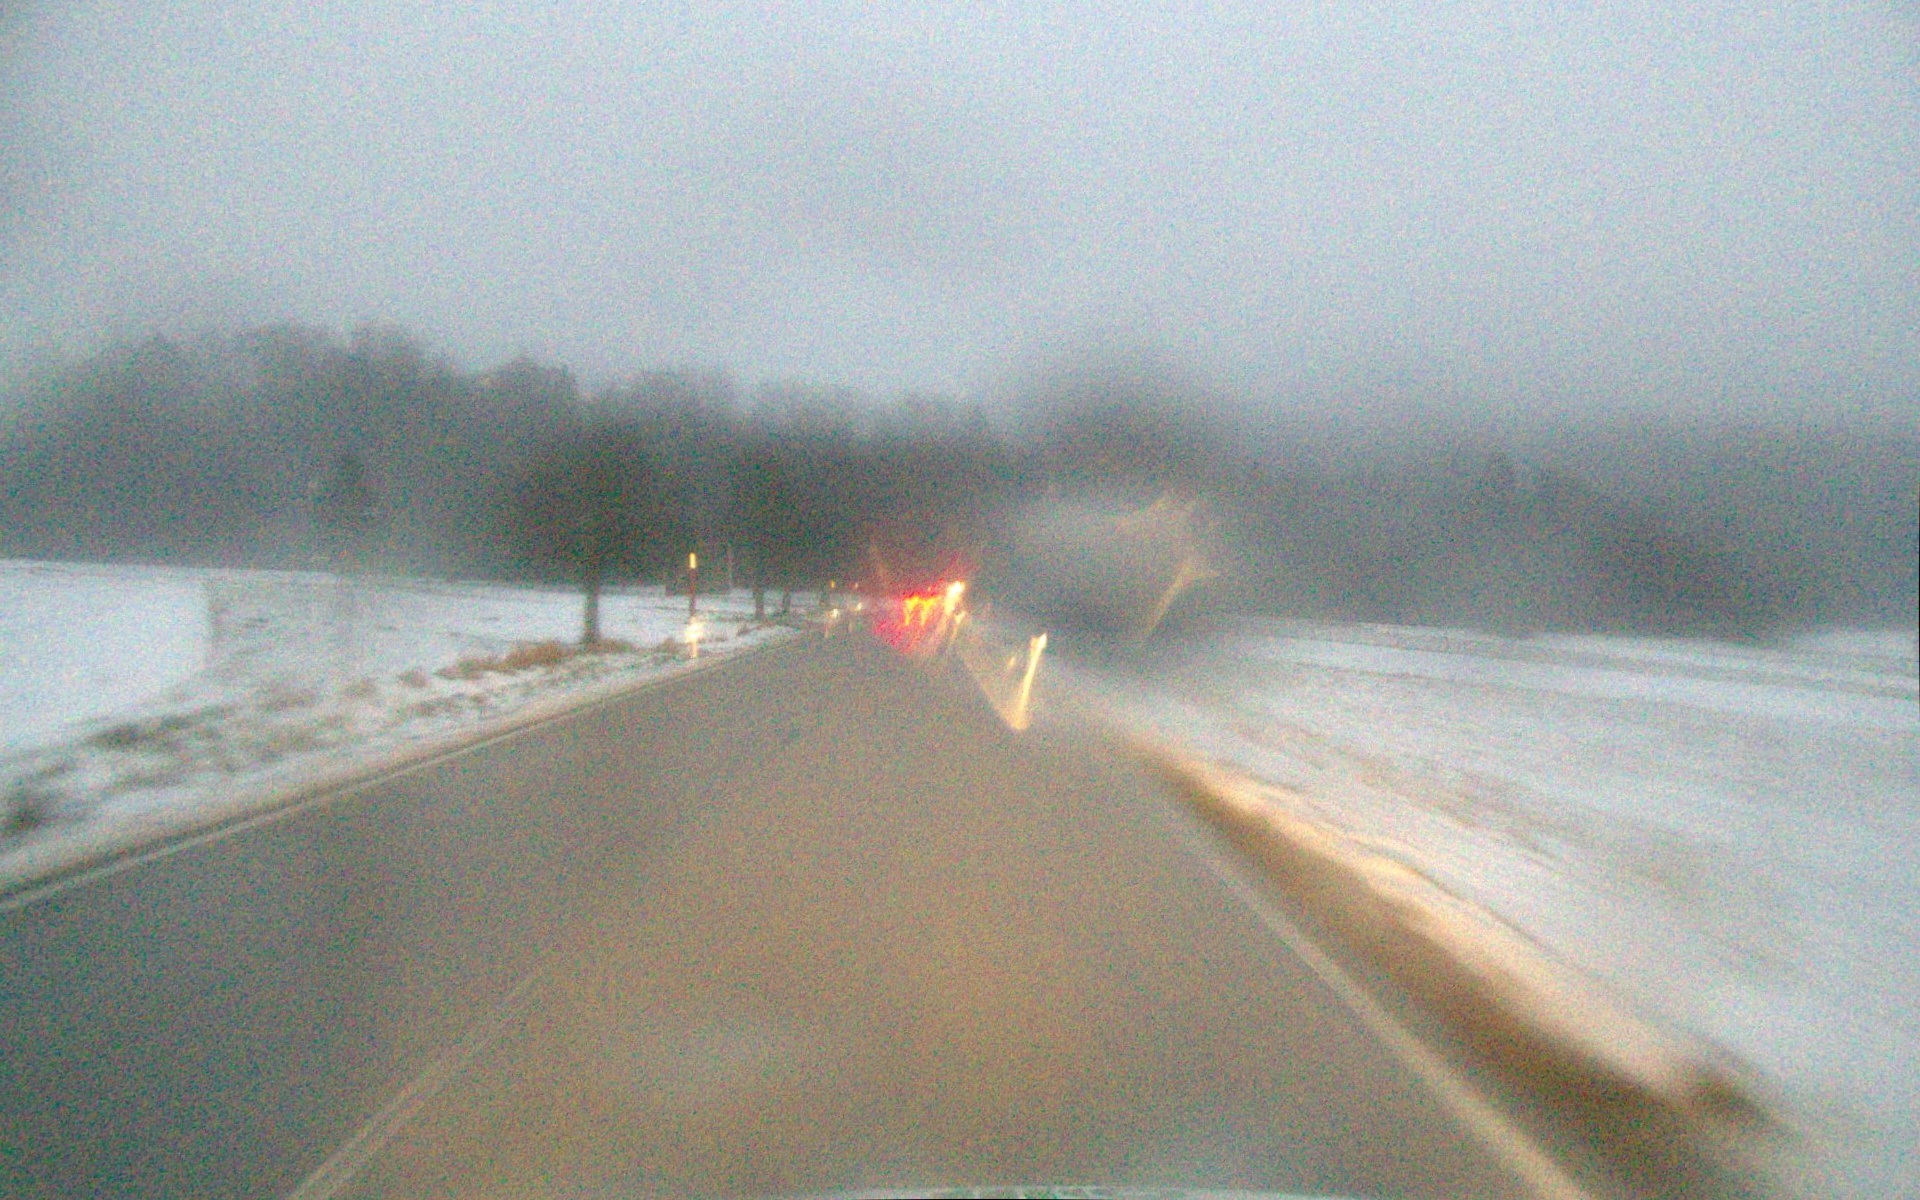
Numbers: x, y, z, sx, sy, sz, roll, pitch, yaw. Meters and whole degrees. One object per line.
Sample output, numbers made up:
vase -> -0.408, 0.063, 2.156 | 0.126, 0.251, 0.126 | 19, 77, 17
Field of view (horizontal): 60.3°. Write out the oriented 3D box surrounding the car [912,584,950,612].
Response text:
car -> -2.345, -0.150, 134.385 | 1.952, 2.087, 4.002 | 3, 0, 15
